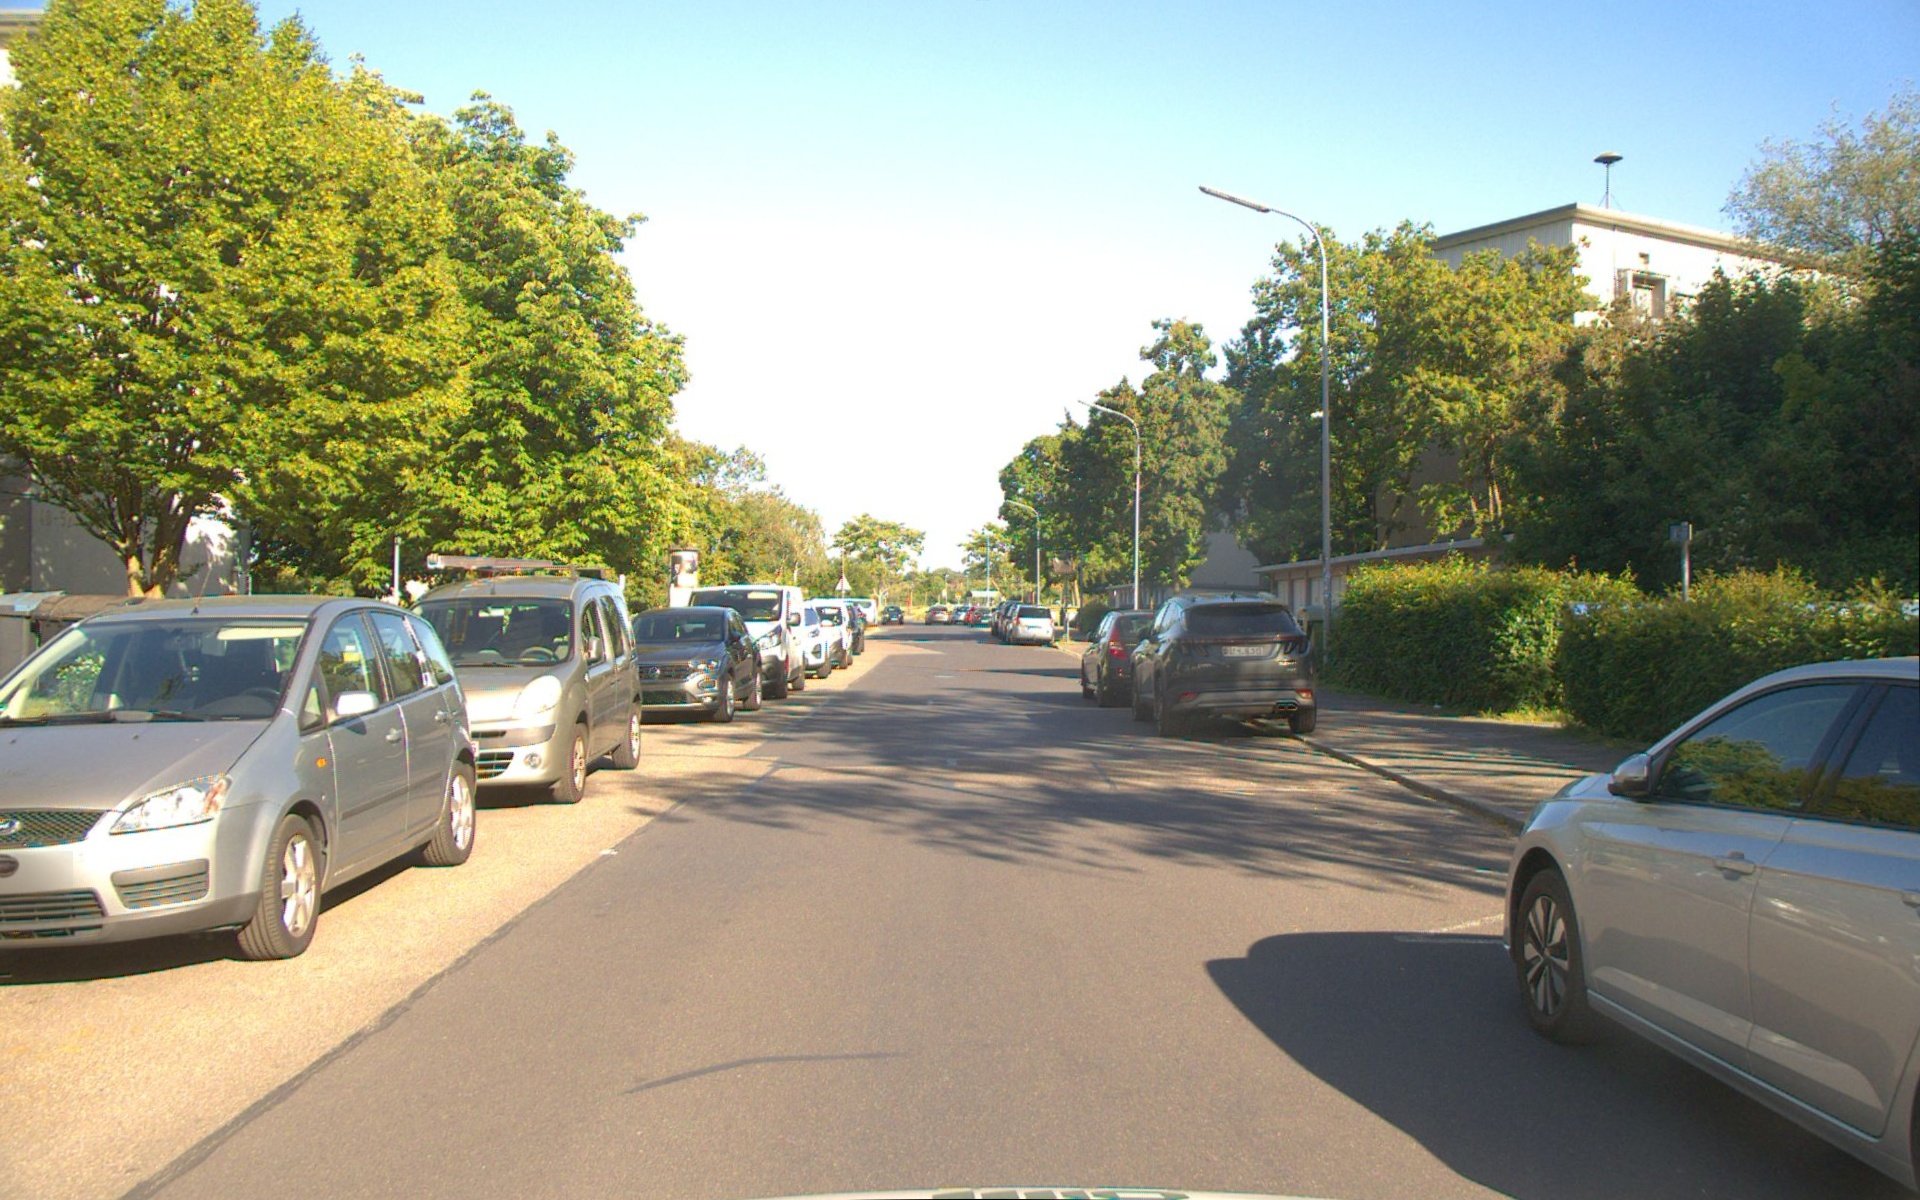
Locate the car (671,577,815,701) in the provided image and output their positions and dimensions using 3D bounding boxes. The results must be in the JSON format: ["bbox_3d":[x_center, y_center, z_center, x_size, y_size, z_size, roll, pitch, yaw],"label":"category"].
[{"bbox_3d":[-3.786,0.641,29.680,1.875,1.997,5.087,-1,0,0],"label":"car"}]

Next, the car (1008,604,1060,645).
[{"bbox_3d":[2.953,0.975,66.731,1.760,1.589,3.949,1,0,-3],"label":"car"}]

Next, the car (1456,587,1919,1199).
[{"bbox_3d":[2.985,0.767,4.713,1.718,1.540,4.102,2,0,-3],"label":"car"}]

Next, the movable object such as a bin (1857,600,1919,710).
[{"bbox_3d":[12.591,0.699,21.427,1.229,1.376,1.278,0,0,-1],"label":"movable object such as a bin"}]

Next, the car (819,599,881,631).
[{"bbox_3d":[-7.261,0.963,108.974,3.975,2.027,1.800,1,0,-6],"label":"car"}]

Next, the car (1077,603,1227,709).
[{"bbox_3d":[3.006,0.835,26.714,1.869,1.557,4.327,1,0,0],"label":"car"}]

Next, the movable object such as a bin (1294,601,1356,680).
[{"bbox_3d":[6.982,0.756,31.714,0.898,1.479,1.232,0,0,-1],"label":"movable object such as a bin"}]

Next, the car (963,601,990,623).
[{"bbox_3d":[1.215,0.891,122.103,1.760,1.576,3.949,1,0,-3],"label":"car"}]

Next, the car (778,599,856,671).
[{"bbox_3d":[-3.718,0.877,43.565,1.711,1.762,4.005,-1,0,0],"label":"car"}]

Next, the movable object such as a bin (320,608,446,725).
[{"bbox_3d":[-7.418,0.832,21.340,1.079,1.395,1.361,3,0,0],"label":"movable object such as a bin"}]

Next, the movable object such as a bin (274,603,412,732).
[{"bbox_3d":[-7.388,0.786,19.878,1.079,1.445,1.361,2,0,0],"label":"movable object such as a bin"}]

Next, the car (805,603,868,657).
[{"bbox_3d":[-3.948,0.922,53.541,1.711,1.641,4.307,-1,0,0],"label":"car"}]

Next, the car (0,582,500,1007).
[{"bbox_3d":[-3.727,0.781,8.500,1.675,1.628,3.984,-2,0,-2],"label":"car"}]

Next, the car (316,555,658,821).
[{"bbox_3d":[-3.894,0.648,14.419,1.817,1.925,4.416,-1,0,-2],"label":"car"}]

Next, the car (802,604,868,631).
[{"bbox_3d":[-7.582,1.047,100.271,3.975,1.589,1.800,1,0,-6],"label":"car"}]

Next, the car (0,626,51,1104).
[{"bbox_3d":[-3.820,0.863,3.187,1.652,1.490,4.524,-2,0,-1],"label":"car"}]

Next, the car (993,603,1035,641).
[{"bbox_3d":[2.662,1.097,82.600,1.760,1.818,3.949,1,0,-3],"label":"car"}]

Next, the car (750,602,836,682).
[{"bbox_3d":[-3.772,0.907,37.886,1.712,1.699,4.375,-1,0,-3],"label":"car"}]

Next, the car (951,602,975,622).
[{"bbox_3d":[0.233,0.994,139.406,1.760,1.672,3.949,1,0,-3],"label":"car"}]

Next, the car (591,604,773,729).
[{"bbox_3d":[-3.803,0.856,23.269,1.710,1.560,4.140,-1,0,2],"label":"car"}]

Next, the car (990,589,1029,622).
[{"bbox_3d":[2.588,0.292,87.263,1.760,1.672,3.949,1,0,-3],"label":"car"}]

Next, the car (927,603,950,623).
[{"bbox_3d":[-1.739,1.014,131.481,1.646,1.540,4.102,2,0,-3],"label":"car"}]

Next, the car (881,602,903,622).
[{"bbox_3d":[-5.662,0.981,137.014,1.760,1.589,3.949,1,0,-3],"label":"car"}]

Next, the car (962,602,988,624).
[{"bbox_3d":[1.149,1.008,129.319,1.760,1.672,3.949,1,0,-3],"label":"car"}]

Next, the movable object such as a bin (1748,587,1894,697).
[{"bbox_3d":[11.226,0.530,21.614,1.229,1.376,1.278,0,0,-1],"label":"movable object such as a bin"}]

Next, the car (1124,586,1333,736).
[{"bbox_3d":[3.259,0.691,20.970,1.869,1.668,4.628,1,0,0],"label":"car"}]
